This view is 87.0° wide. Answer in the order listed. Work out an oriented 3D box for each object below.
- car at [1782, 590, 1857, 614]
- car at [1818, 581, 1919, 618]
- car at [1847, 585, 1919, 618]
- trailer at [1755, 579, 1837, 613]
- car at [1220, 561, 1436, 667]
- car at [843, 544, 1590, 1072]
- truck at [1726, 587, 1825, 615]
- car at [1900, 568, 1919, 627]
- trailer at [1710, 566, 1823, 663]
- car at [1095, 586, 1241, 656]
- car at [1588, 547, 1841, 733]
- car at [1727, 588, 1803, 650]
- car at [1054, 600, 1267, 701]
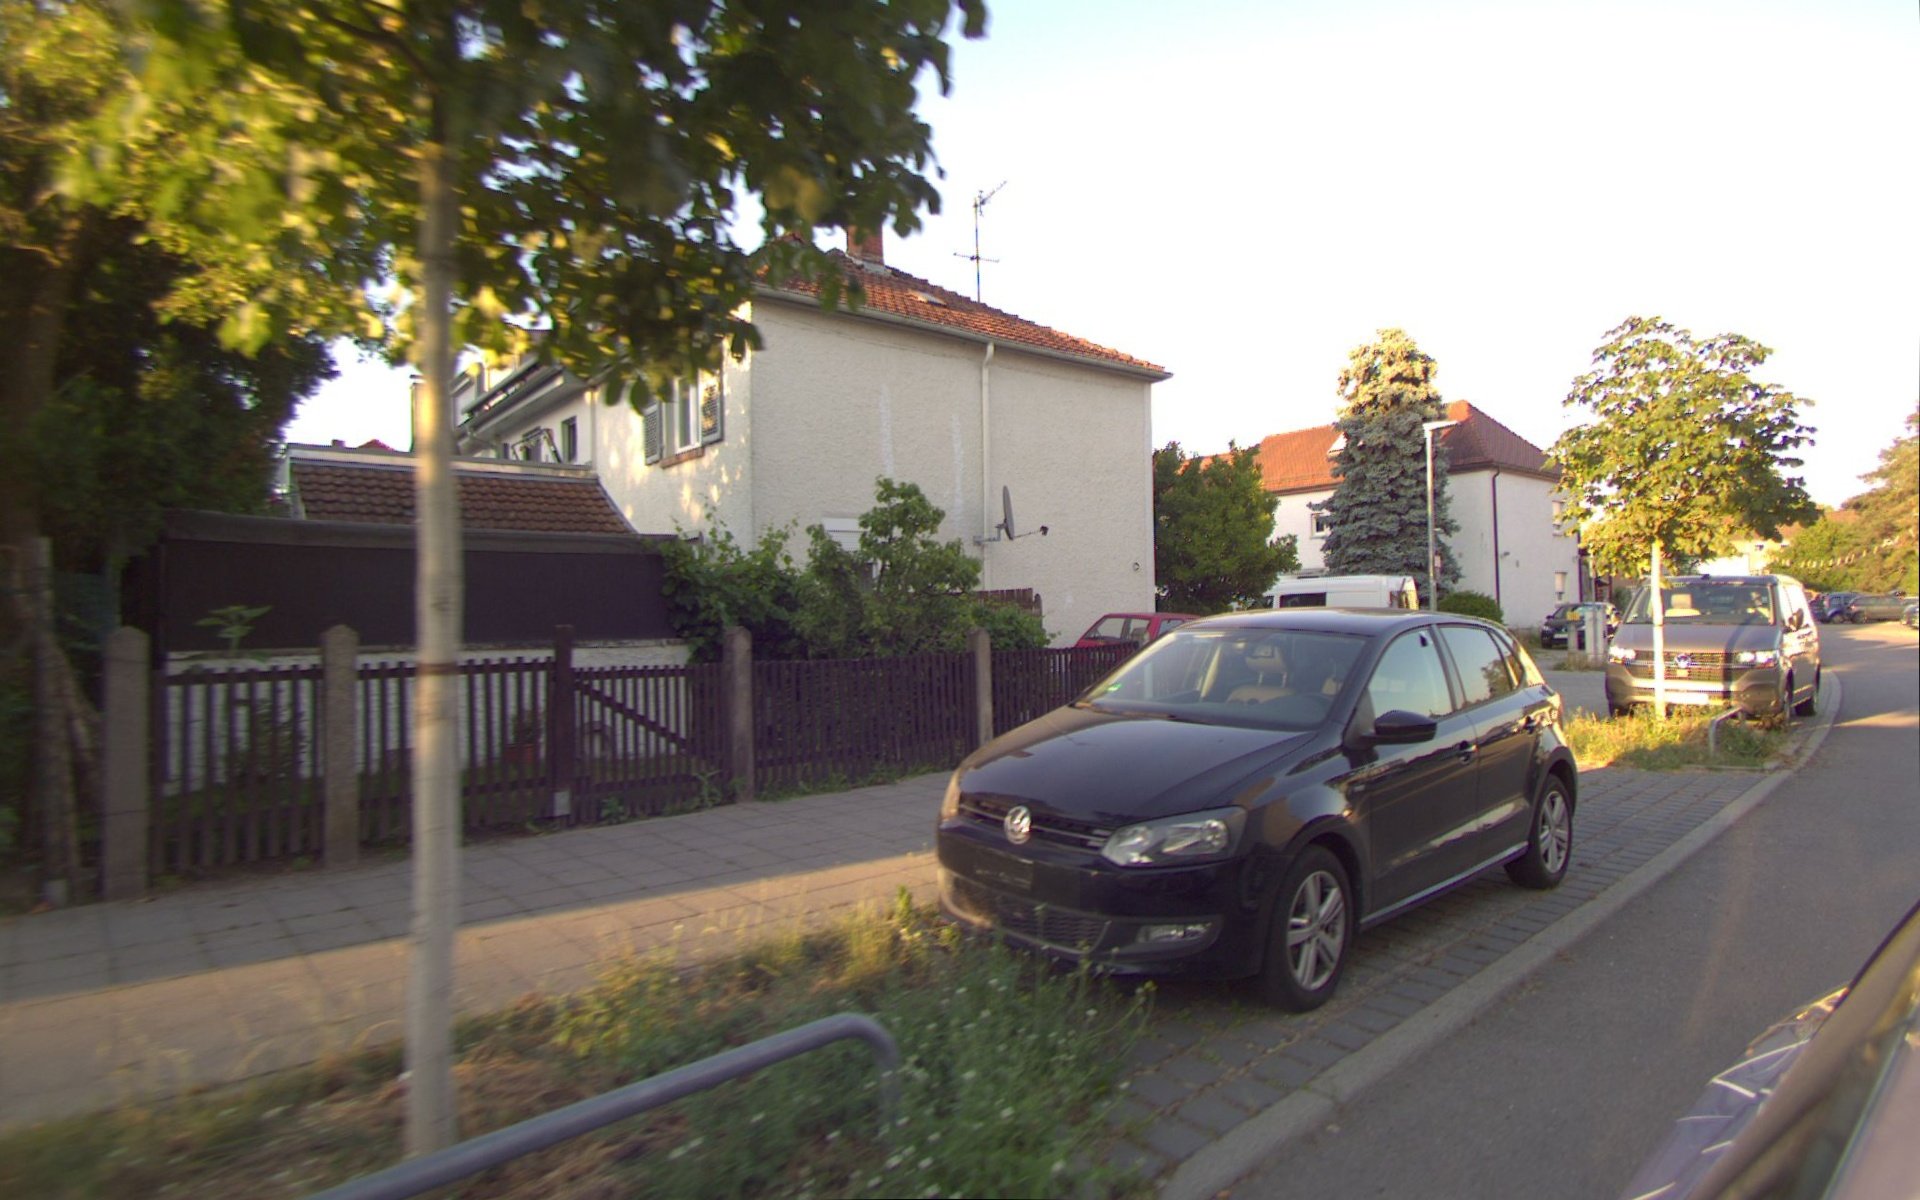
[{"bbox_3d":[62.753,0.146,73.987,4.025,1.641,1.825,-2,-1,37],"label":"car"},{"bbox_3d":[53.448,-0.015,59.630,3.889,1.936,1.736,-4,-3,20],"label":"car"},{"bbox_3d":[52.881,0.079,57.175,3.912,1.674,1.725,-5,-3,36],"label":"car"},{"bbox_3d":[67.262,-0.290,81.499,4.774,2.463,2.108,-4,-1,35],"label":"trailer"},{"bbox_3d":[10.392,0.471,29.058,2.015,2.728,5.575,2,-3,-38],"label":"car"},{"bbox_3d":[1.410,0.628,4.863,3.576,1.572,1.743,0,-1,-41],"label":"car"},{"bbox_3d":[67.958,0.100,84.488,5.980,2.069,2.330,-2,-1,31],"label":"truck"},{"bbox_3d":[48.242,-0.309,46.896,6.343,2.747,2.094,-4,-1,26],"label":"car"},{"bbox_3d":[20.799,0.356,26.194,2.060,2.240,5.150,-1,-1,38],"label":"trailer"},{"bbox_3d":[7.817,0.862,38.602,2.015,2.477,5.455,2,-3,-38],"label":"car"},{"bbox_3d":[10.508,0.468,13.948,4.792,2.122,2.066,0,-1,-44],"label":"car"},{"bbox_3d":[25.787,0.585,32.356,1.768,1.854,4.344,-1,-1,40],"label":"car"},{"bbox_3d":[3.332,0.751,16.514,3.576,1.463,1.531,0,-1,-41],"label":"car"}]
